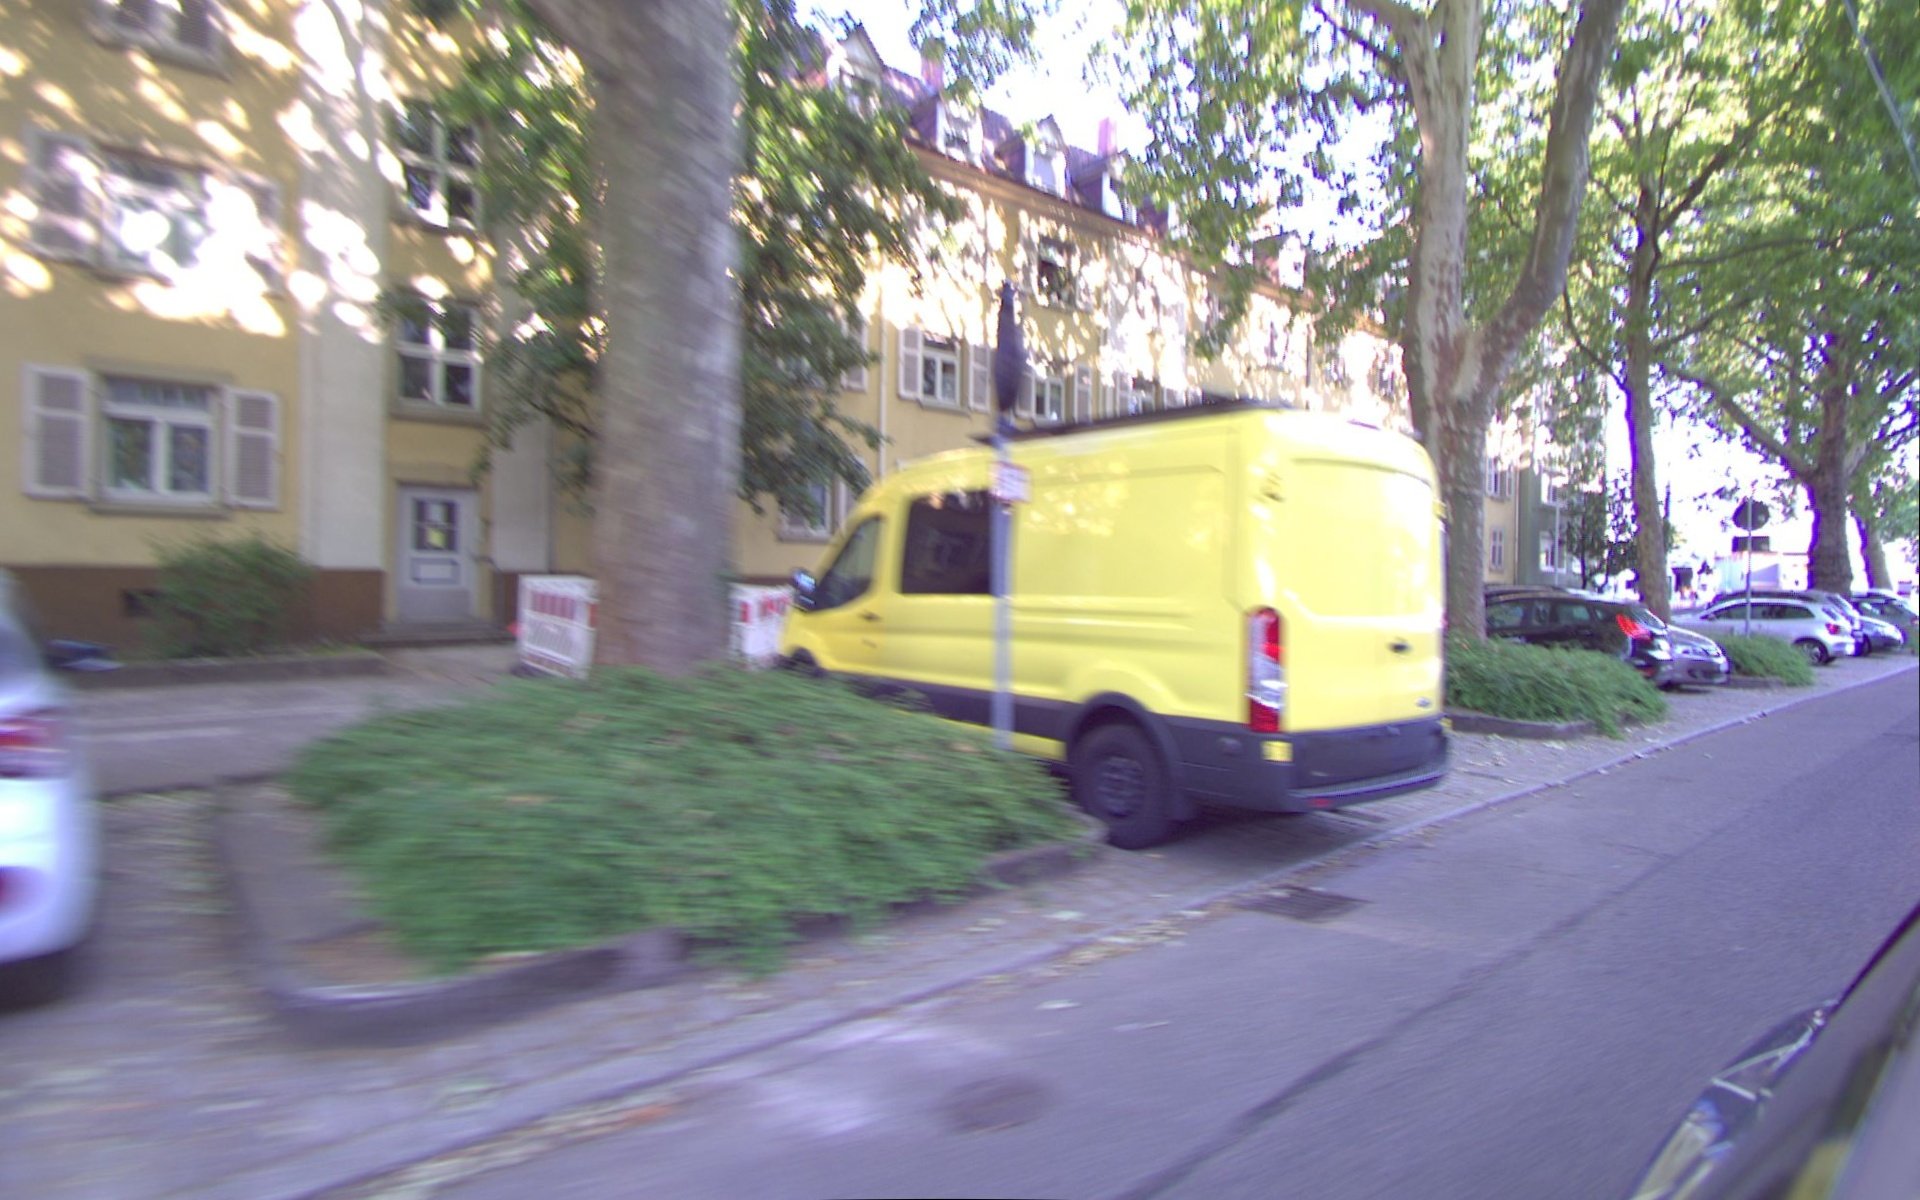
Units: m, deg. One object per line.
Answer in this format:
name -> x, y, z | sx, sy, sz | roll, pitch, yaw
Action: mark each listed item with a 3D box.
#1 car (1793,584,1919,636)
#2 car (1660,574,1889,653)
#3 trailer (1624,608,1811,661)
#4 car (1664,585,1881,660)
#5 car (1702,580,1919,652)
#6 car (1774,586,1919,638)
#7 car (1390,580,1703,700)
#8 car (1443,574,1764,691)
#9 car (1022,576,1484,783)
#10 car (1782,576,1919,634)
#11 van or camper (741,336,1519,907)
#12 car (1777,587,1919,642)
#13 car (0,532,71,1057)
car -> 31.857, 0.335, 35.443 | 1.764, 1.625, 3.882 | 0, 2, -41
car -> 21.186, 0.295, 26.496 | 1.806, 1.752, 4.323 | 1, 2, -36
trailer -> 16.933, 0.725, 22.738 | 1.409, 0.914, 3.053 | 0, 3, -34
car -> 19.193, 0.468, 24.025 | 1.832, 1.441, 3.662 | 0, 4, -39
car -> 23.209, 0.345, 27.637 | 1.875, 1.677, 4.433 | -1, 3, -42
car -> 30.116, 0.377, 33.669 | 1.785, 1.542, 4.410 | 0, 2, -40
car -> 8.562, 0.487, 14.982 | 1.708, 1.444, 3.657 | 0, 3, -43
car -> 10.414, 0.410, 16.614 | 1.798, 1.568, 4.085 | -1, 3, -41
car -> 2.585, 0.558, 9.702 | 1.829, 1.508, 3.916 | 0, 2, -38
car -> 33.687, 0.174, 37.194 | 1.881, 1.878, 5.124 | -1, 4, -40
van or camper -> 0.660, -0.012, 7.754 | 2.229, 2.661, 5.942 | -1, 3, -38
car -> 28.272, 0.411, 31.743 | 1.712, 1.515, 3.886 | 0, 3, -43
car -> -4.440, 0.546, 3.783 | 1.669, 1.559, 3.309 | 0, 1, -42
